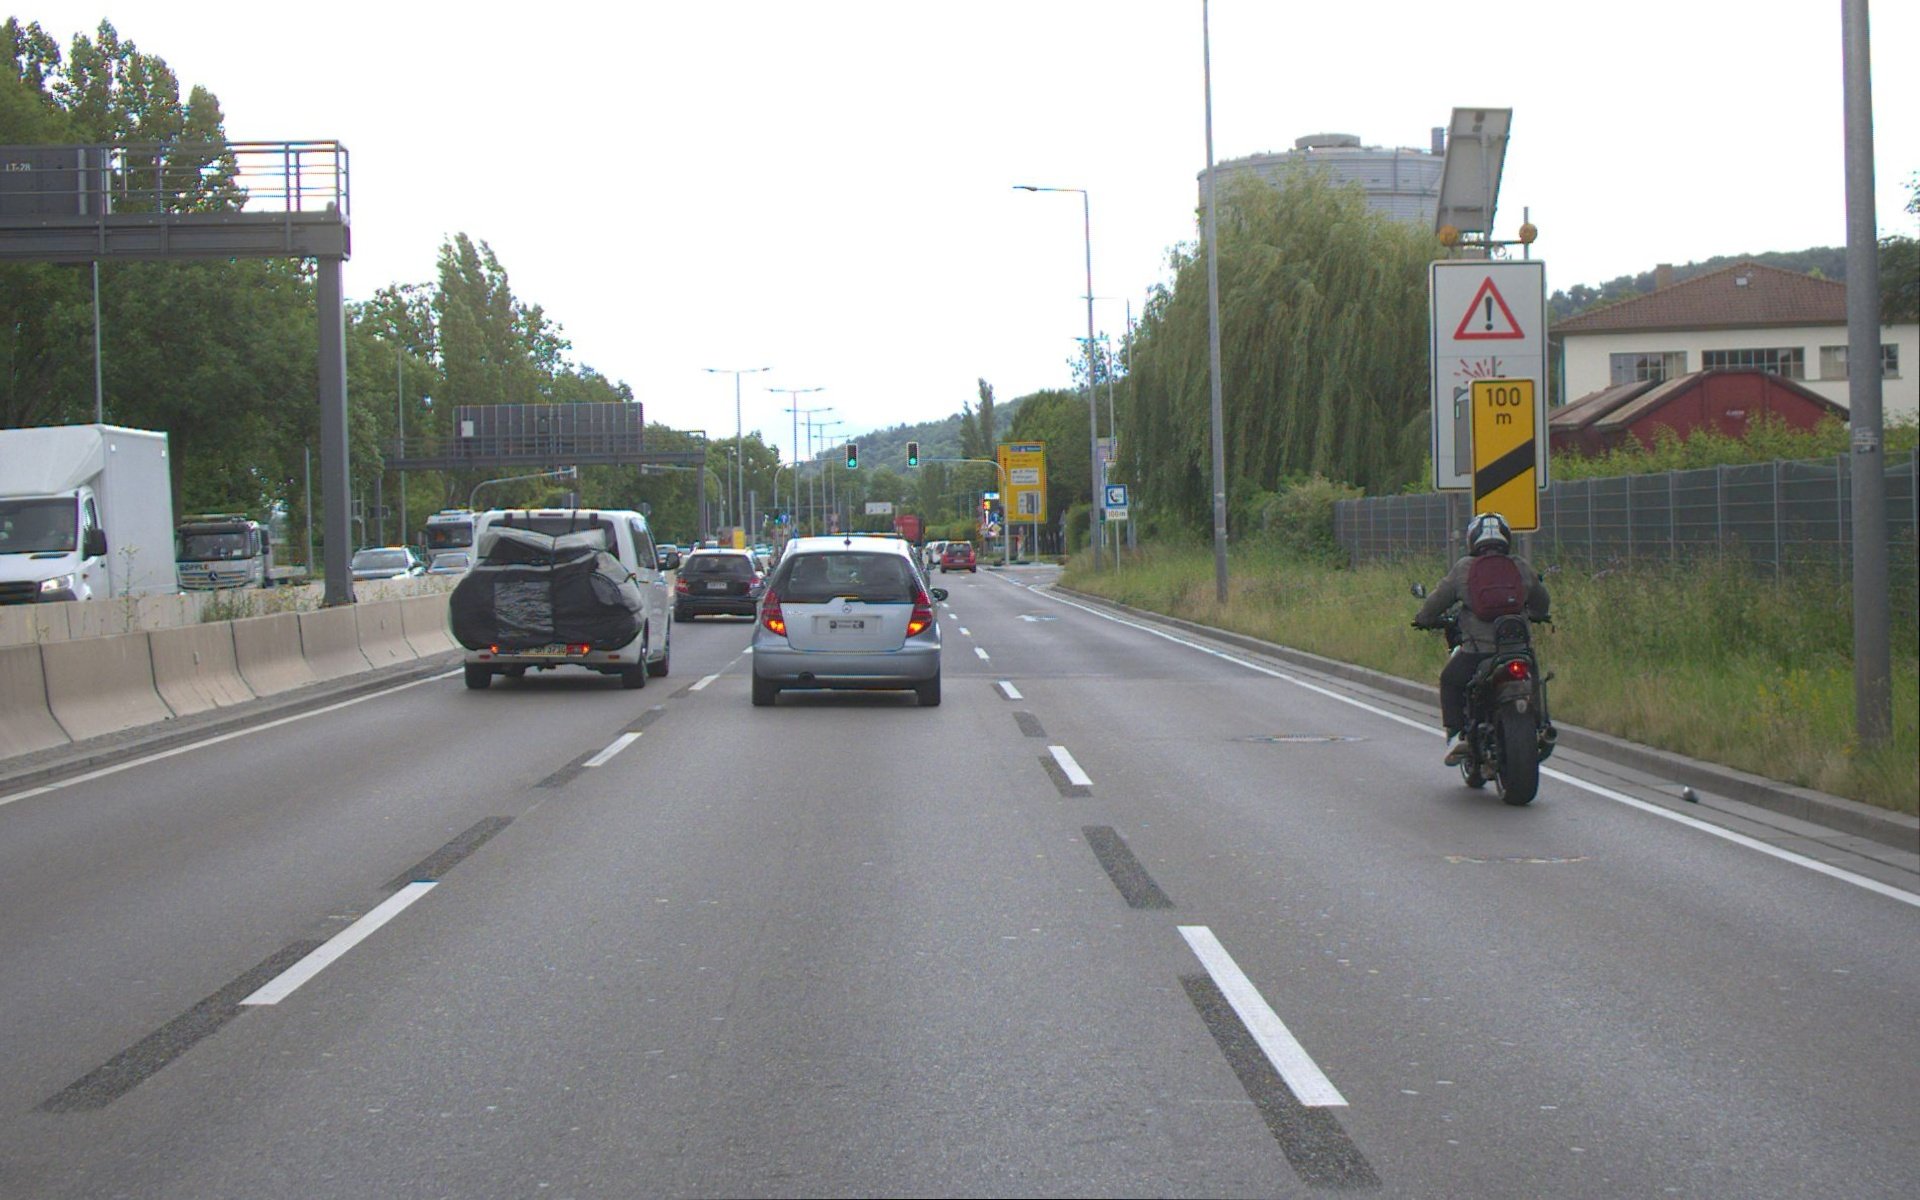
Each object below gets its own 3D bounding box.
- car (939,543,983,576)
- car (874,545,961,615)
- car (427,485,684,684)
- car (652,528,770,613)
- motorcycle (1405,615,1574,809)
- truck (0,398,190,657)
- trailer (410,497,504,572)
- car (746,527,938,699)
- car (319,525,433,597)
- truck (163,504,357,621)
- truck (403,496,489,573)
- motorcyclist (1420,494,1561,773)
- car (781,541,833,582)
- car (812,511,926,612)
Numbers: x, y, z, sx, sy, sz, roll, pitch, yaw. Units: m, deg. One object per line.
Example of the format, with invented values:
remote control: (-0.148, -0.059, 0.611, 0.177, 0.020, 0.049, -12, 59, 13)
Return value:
car: (0.035, -1.971, 166.149, 1.993, 1.546, 4.001, 1, 1, -2)
car: (-0.946, -0.465, 75.703, 1.840, 1.459, 4.000, 1, 1, -1)
car: (-4.191, -0.206, 36.417, 2.214, 1.919, 5.003, 1, 1, -1)
car: (-4.750, -0.588, 66.078, 1.993, 1.546, 4.000, 1, 1, 0)
motorcycle: (3.122, 0.637, 20.434, 0.706, 1.036, 2.027, 1, 1, 1)
truck: (-12.000, -0.964, 44.962, 2.404, 3.096, 7.202, 1, 1, -2)
trailer: (-22.517, -2.955, 154.468, 3.100, 3.209, 11.670, 1, 1, -3)
car: (-1.112, 0.079, 33.067, 1.710, 1.525, 4.000, 1, 1, -1)
car: (-13.588, -0.935, 80.219, 1.926, 1.612, 4.455, 1, 1, 0)
truck: (-20.322, -1.187, 100.921, 2.854, 3.096, 15.887, 1, 1, -2)
truck: (-22.210, -2.830, 148.817, 3.098, 3.208, 5.392, 1, 1, -3)
motorcyclist: (3.131, 0.183, 20.347, 0.685, 1.604, 0.845, 1, 1, 1)
car: (-6.102, -1.540, 137.456, 1.993, 1.546, 4.001, 1, 1, -2)
car: (-1.570, -0.698, 60.411, 1.907, 1.678, 4.000, 1, 1, -1)
